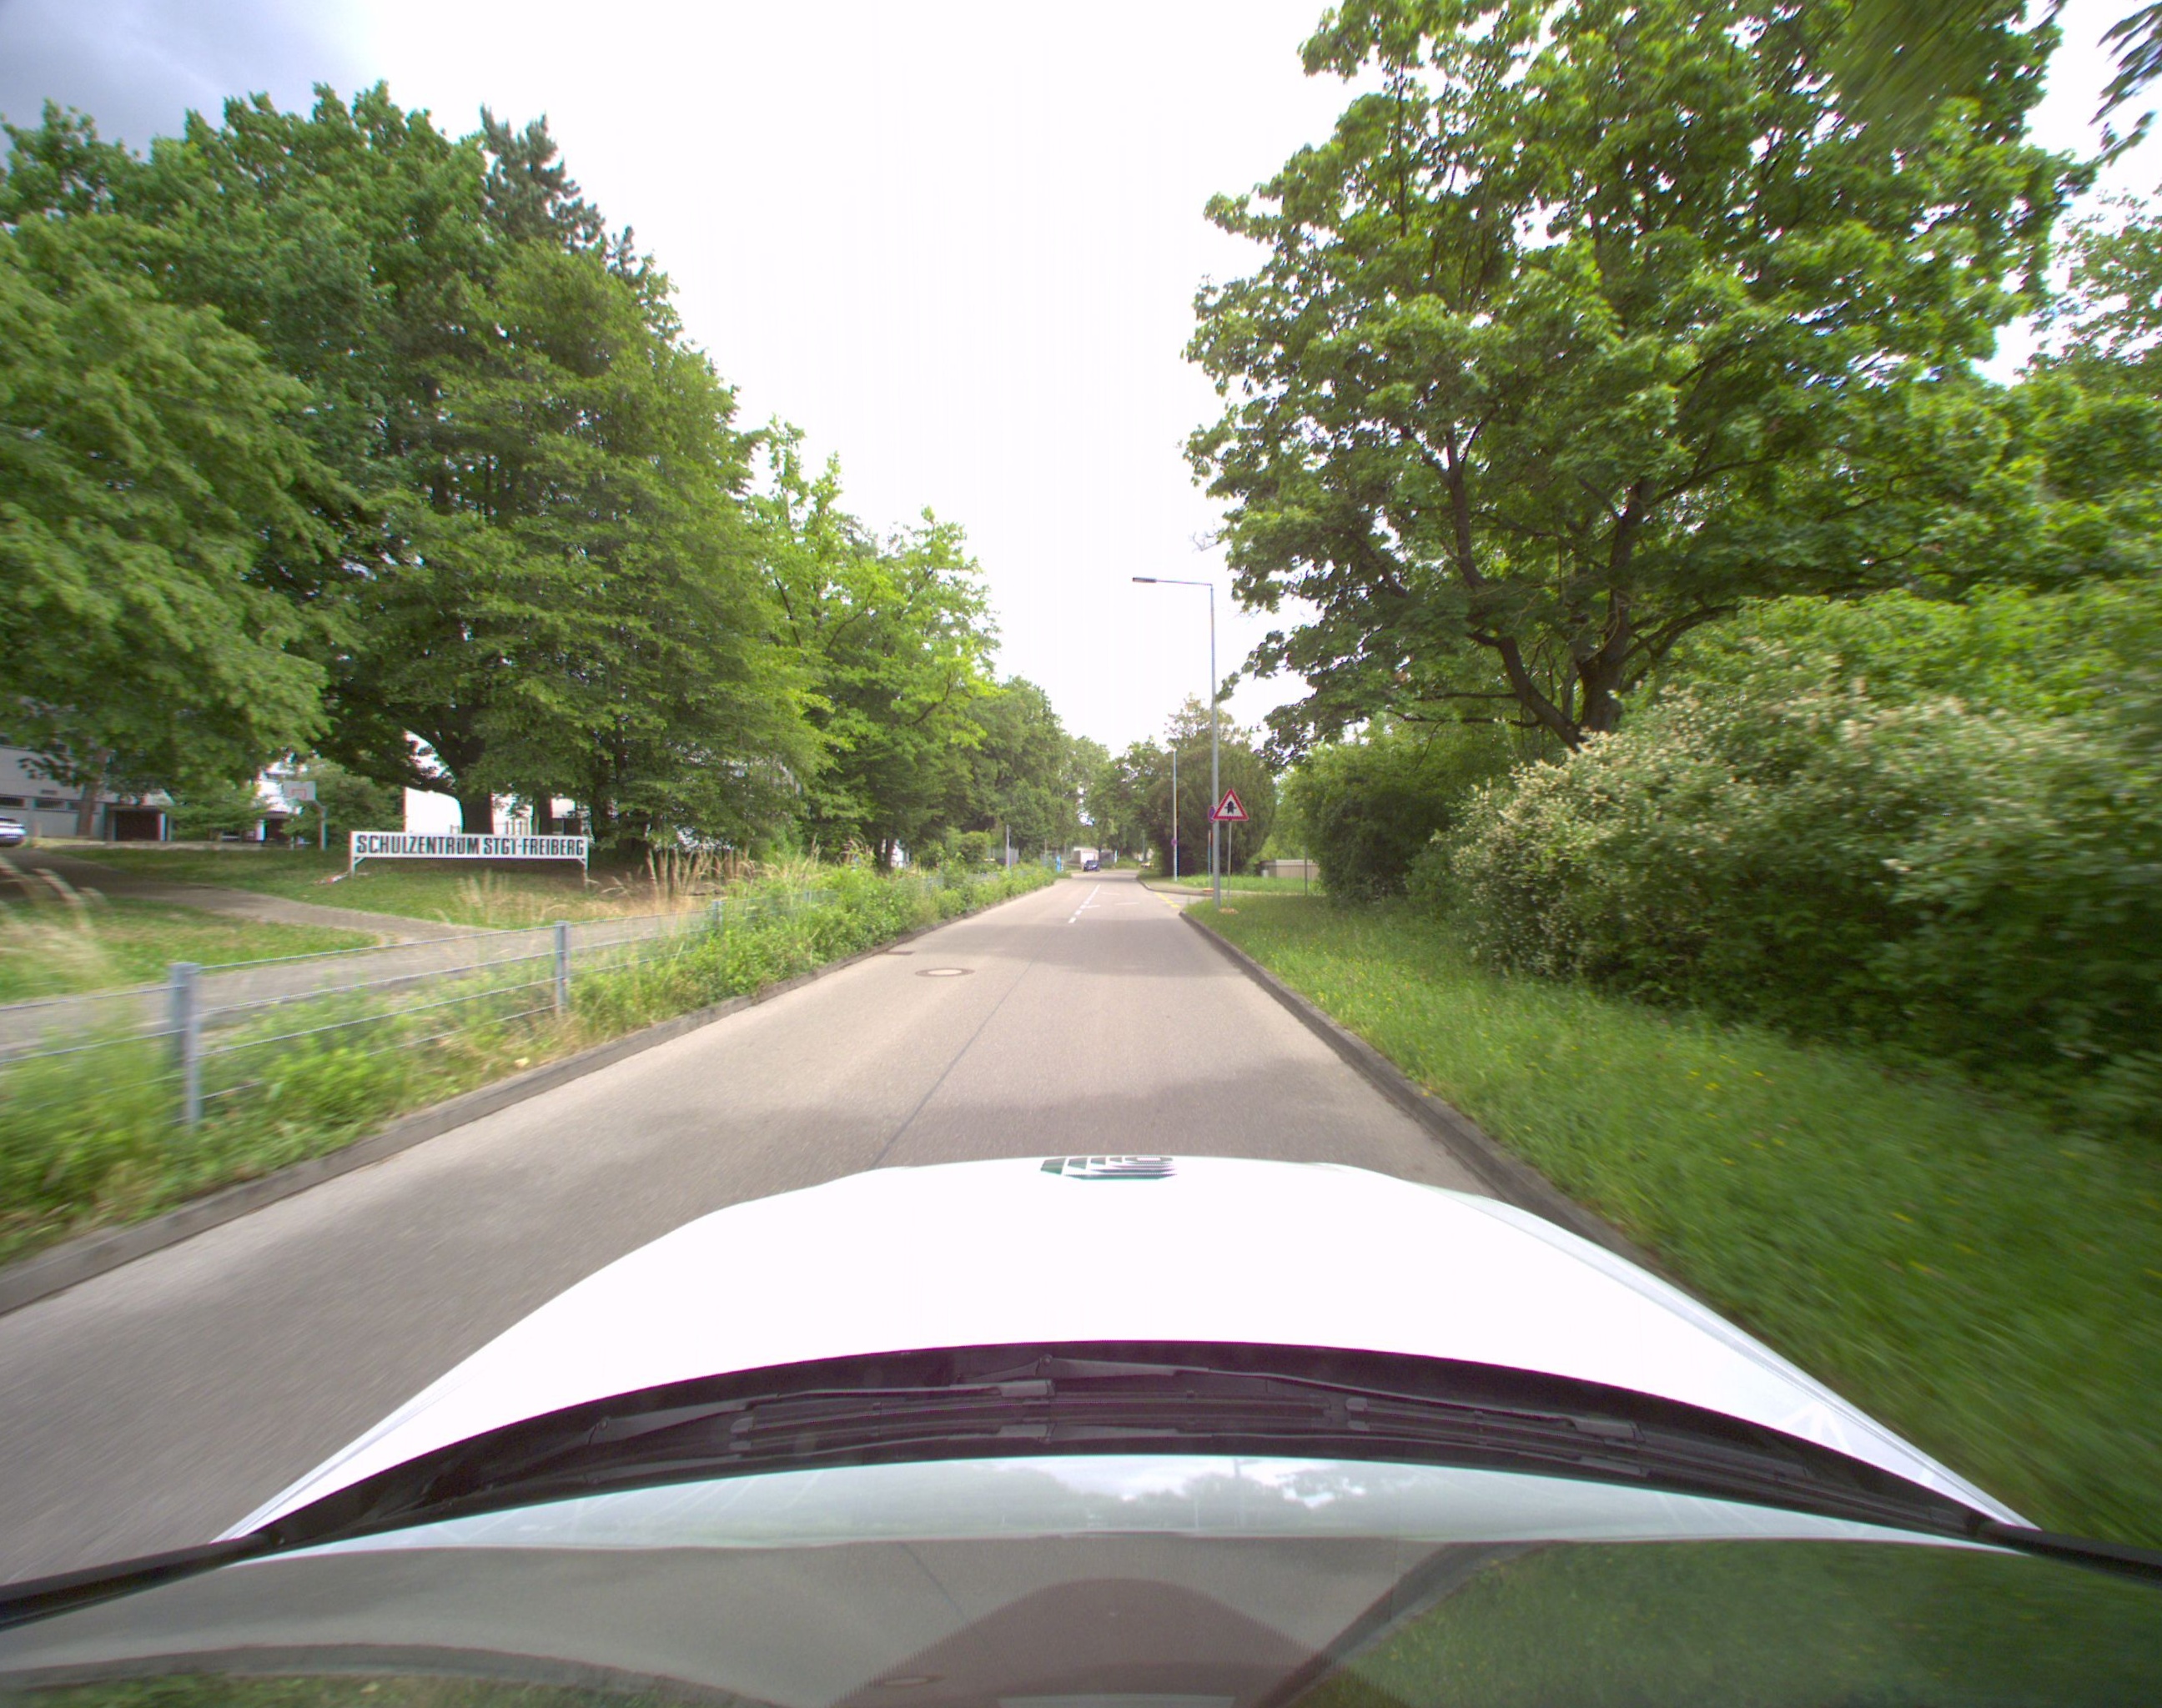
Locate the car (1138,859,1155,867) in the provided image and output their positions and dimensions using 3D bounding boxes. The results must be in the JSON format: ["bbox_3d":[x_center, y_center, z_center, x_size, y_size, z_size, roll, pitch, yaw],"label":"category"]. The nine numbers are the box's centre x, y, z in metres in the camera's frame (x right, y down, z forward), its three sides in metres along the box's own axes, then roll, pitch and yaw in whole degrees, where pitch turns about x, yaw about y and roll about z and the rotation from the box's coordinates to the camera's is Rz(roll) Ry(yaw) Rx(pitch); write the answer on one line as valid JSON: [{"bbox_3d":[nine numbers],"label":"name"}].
[{"bbox_3d":[11.376,1.586,140.606,1.685,1.403,4.295,1,-1,21],"label":"car"}]

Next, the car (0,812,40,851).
[{"bbox_3d":[-50.245,-1.013,36.260,4.443,1.694,1.964,0,-1,-16],"label":"car"}]

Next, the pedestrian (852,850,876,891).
[{"bbox_3d":[-8.904,0.686,33.386,0.757,1.662,0.809,0,-1,0],"label":"pedestrian"}]

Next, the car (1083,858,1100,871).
[{"bbox_3d":[1.373,1.319,103.497,1.670,1.512,4.441,0,-1,8],"label":"car"}]

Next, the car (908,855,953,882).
[{"bbox_3d":[-11.863,1.124,64.412,1.979,2.014,4.015,-1,-1,14],"label":"car"}]
